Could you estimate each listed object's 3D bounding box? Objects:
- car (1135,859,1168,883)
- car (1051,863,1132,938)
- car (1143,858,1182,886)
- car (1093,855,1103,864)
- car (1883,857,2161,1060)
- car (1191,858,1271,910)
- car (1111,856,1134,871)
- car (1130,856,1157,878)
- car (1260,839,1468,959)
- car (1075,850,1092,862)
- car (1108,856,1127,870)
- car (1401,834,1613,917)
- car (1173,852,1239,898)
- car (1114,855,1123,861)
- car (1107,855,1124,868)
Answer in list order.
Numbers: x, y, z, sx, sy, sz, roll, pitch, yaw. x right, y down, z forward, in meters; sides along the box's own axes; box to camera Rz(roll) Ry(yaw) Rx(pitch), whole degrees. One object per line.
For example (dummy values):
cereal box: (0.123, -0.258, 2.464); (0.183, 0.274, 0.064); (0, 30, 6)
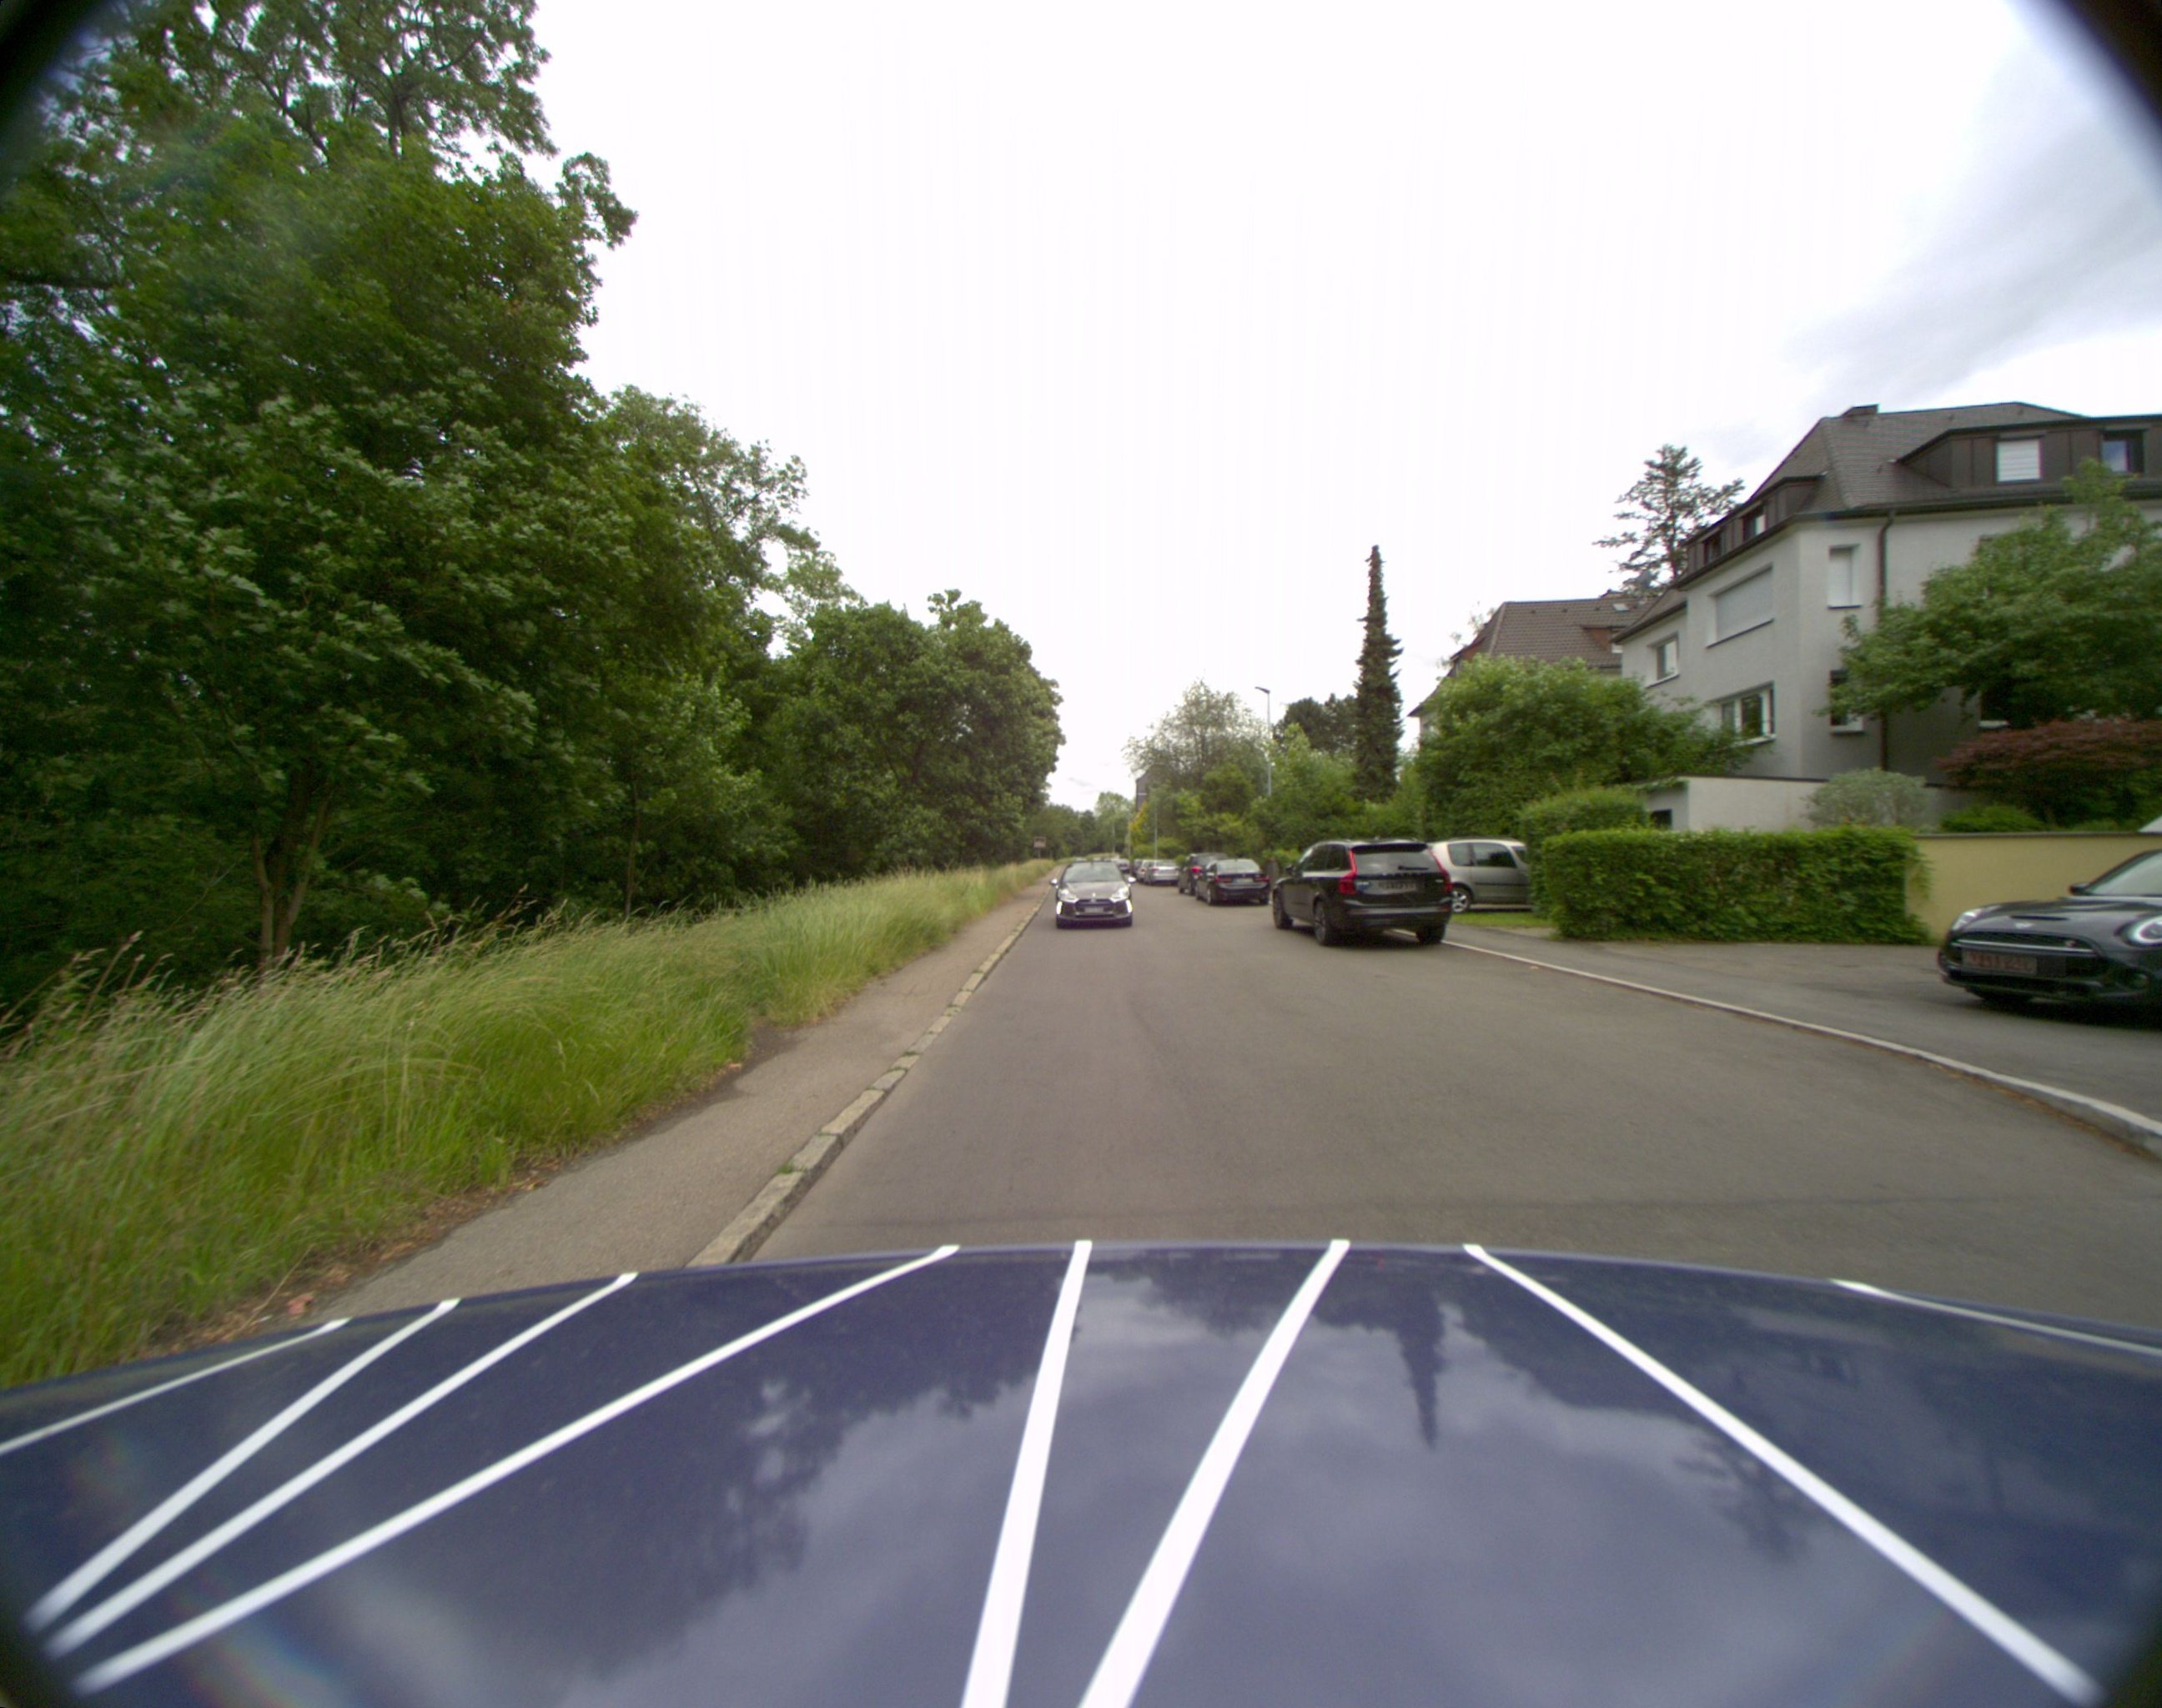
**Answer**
car: (4.423, 1.030, 48.069); (1.664, 1.444, 4.381); (0, 0, 0)
car: (0.334, 0.962, 17.206); (1.619, 1.460, 4.001); (0, 0, 3)
car: (4.479, 0.971, 42.266); (1.627, 1.441, 4.092); (0, 0, -1)
car: (3.168, 1.033, 141.496); (1.646, 1.461, 4.071); (1, 0, 2)
car: (9.284, 0.706, 6.035); (3.831, 1.377, 1.779); (-1, -1, 3)
car: (4.727, 0.891, 24.615); (1.758, 1.404, 4.898); (-2, 0, 2)
car: (3.932, 0.895, 73.002); (1.783, 1.423, 5.104); (-1, 0, -2)
car: (4.293, 0.856, 52.786); (1.627, 1.441, 3.969); (0, 0, 1)
car: (4.819, 0.672, 13.889); (1.979, 1.726, 5.190); (-2, 0, 2)
car: (0.287, 0.201, 91.212); (1.785, 1.417, 4.488); (-1, 0, -2)
car: (3.790, 0.954, 79.490); (1.628, 1.423, 4.350); (0, 0, -2)
car: (9.235, 0.469, 16.799); (3.698, 1.628, 1.830); (-2, 0, 13)
car: (4.835, 0.768, 30.065); (1.736, 1.623, 4.568); (-2, 0, -1)
car: (9.516, 0.936, 193.093); (1.735, 1.420, 3.460); (1, 1, 11)
car: (3.786, 0.804, 84.382); (1.628, 1.473, 3.999); (0, 0, -1)
